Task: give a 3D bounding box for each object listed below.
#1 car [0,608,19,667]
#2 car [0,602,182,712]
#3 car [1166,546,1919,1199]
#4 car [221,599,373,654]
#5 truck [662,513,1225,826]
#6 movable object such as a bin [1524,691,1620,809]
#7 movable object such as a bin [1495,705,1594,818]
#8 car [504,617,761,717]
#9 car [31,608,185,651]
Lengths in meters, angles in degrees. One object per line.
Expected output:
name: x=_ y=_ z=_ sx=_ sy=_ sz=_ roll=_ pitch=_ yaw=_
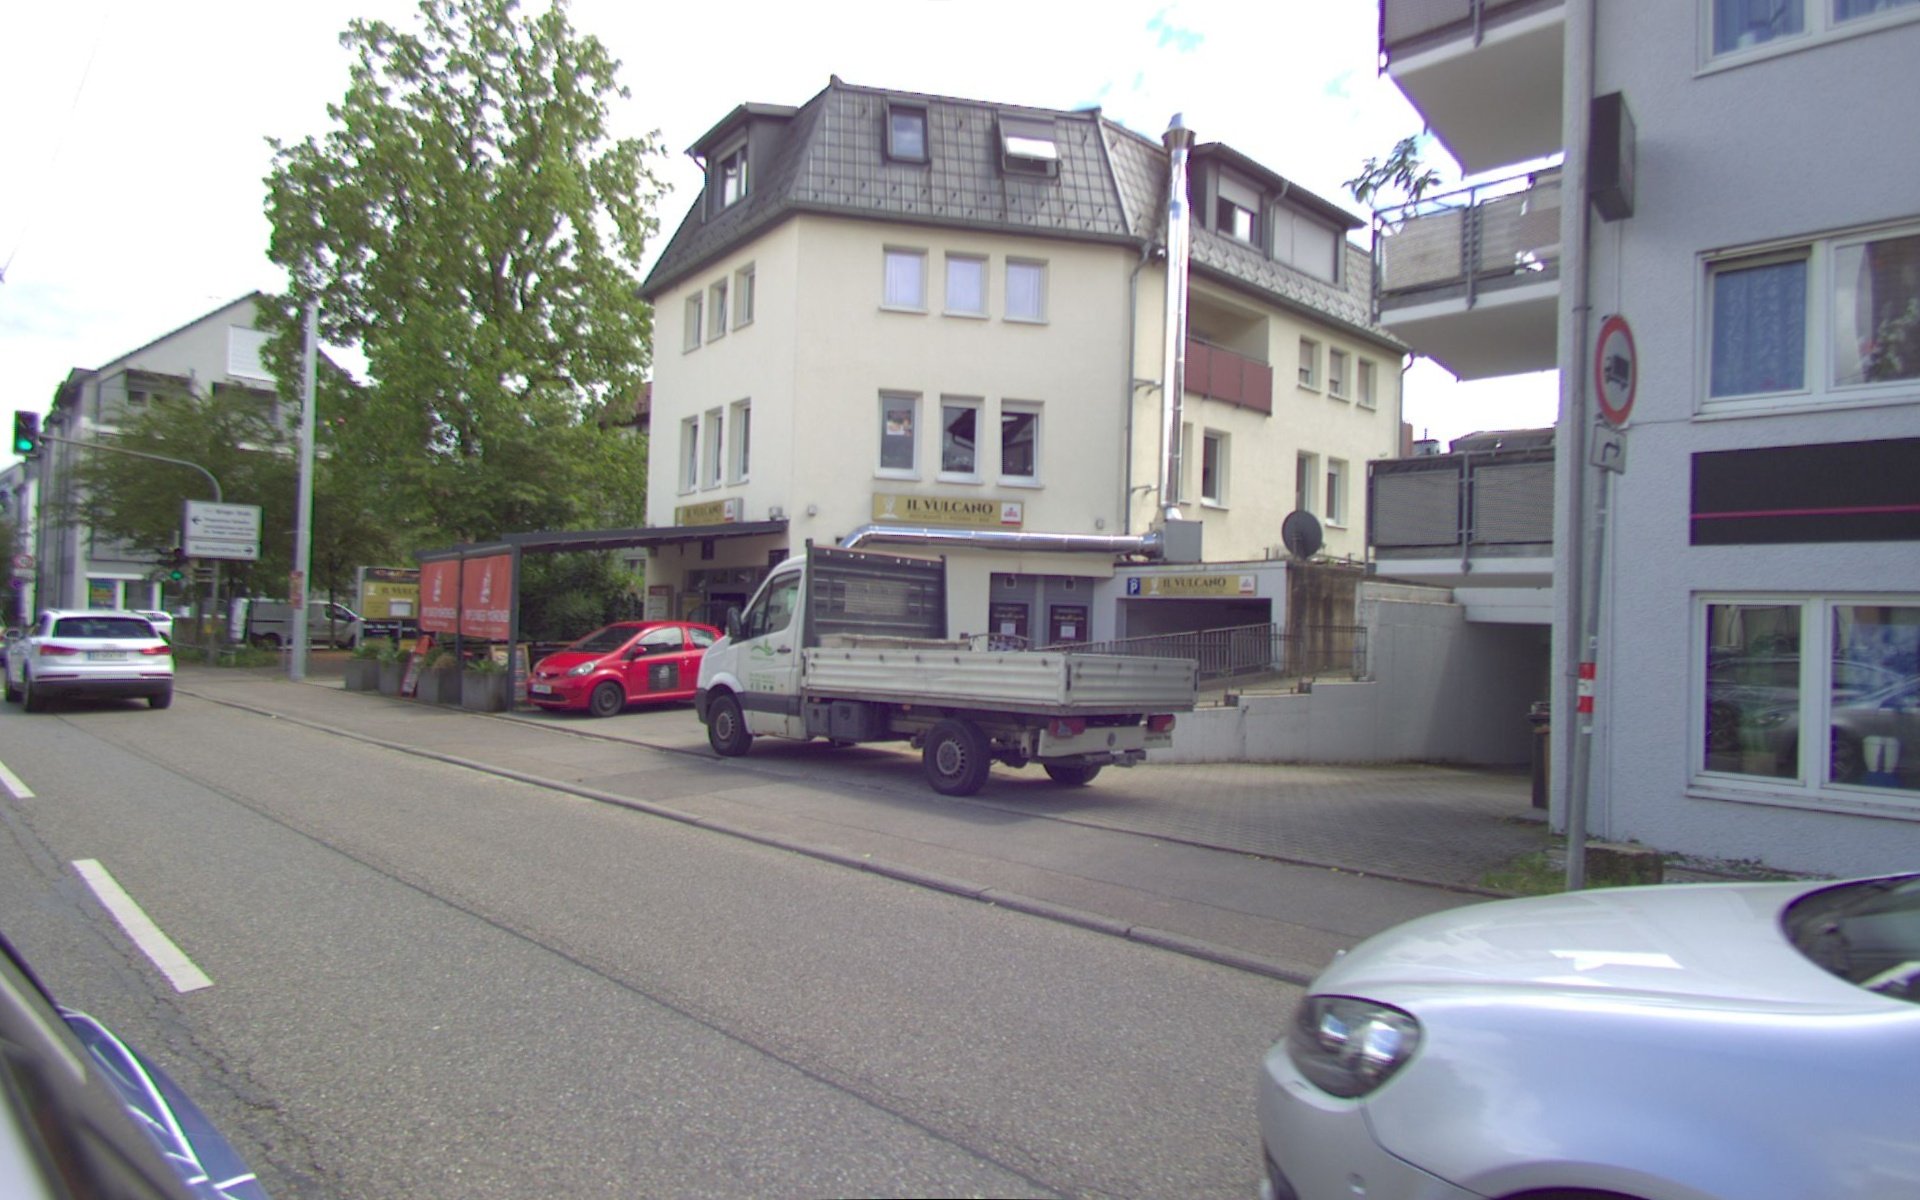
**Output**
car: x=-26.176 y=0.957 z=26.613 sx=3.809 sy=1.497 sz=1.601 roll=0 pitch=-1 yaw=40
car: x=-14.481 y=0.882 z=16.709 sx=4.158 sy=1.583 sz=1.786 roll=0 pitch=-4 yaw=42
car: x=2.586 y=0.734 z=1.080 sx=4.374 sy=1.514 sz=1.710 roll=-1 pitch=-4 yaw=41
car: x=-25.838 y=0.997 z=39.572 sx=2.093 sy=2.024 sz=4.575 roll=0 pitch=-1 yaw=39
truck: x=-0.572 y=0.536 z=10.791 sx=6.329 sy=2.398 sz=2.199 roll=0 pitch=-1 yaw=45
movable object such as a bin: x=6.477 y=1.559 z=10.717 sx=0.729 sy=1.109 sz=0.706 roll=2 pitch=-1 yaw=-44
movable object such as a bin: x=5.805 y=1.572 z=10.044 sx=0.788 sy=0.970 sz=0.661 roll=2 pitch=-1 yaw=-44
car: x=-5.276 y=1.006 z=16.661 sx=1.802 sy=1.436 sz=3.657 roll=0 pitch=-1 yaw=38
car: x=-31.732 y=1.099 z=37.761 sx=1.821 sy=1.525 sz=4.167 roll=-2 pitch=-2 yaw=41
